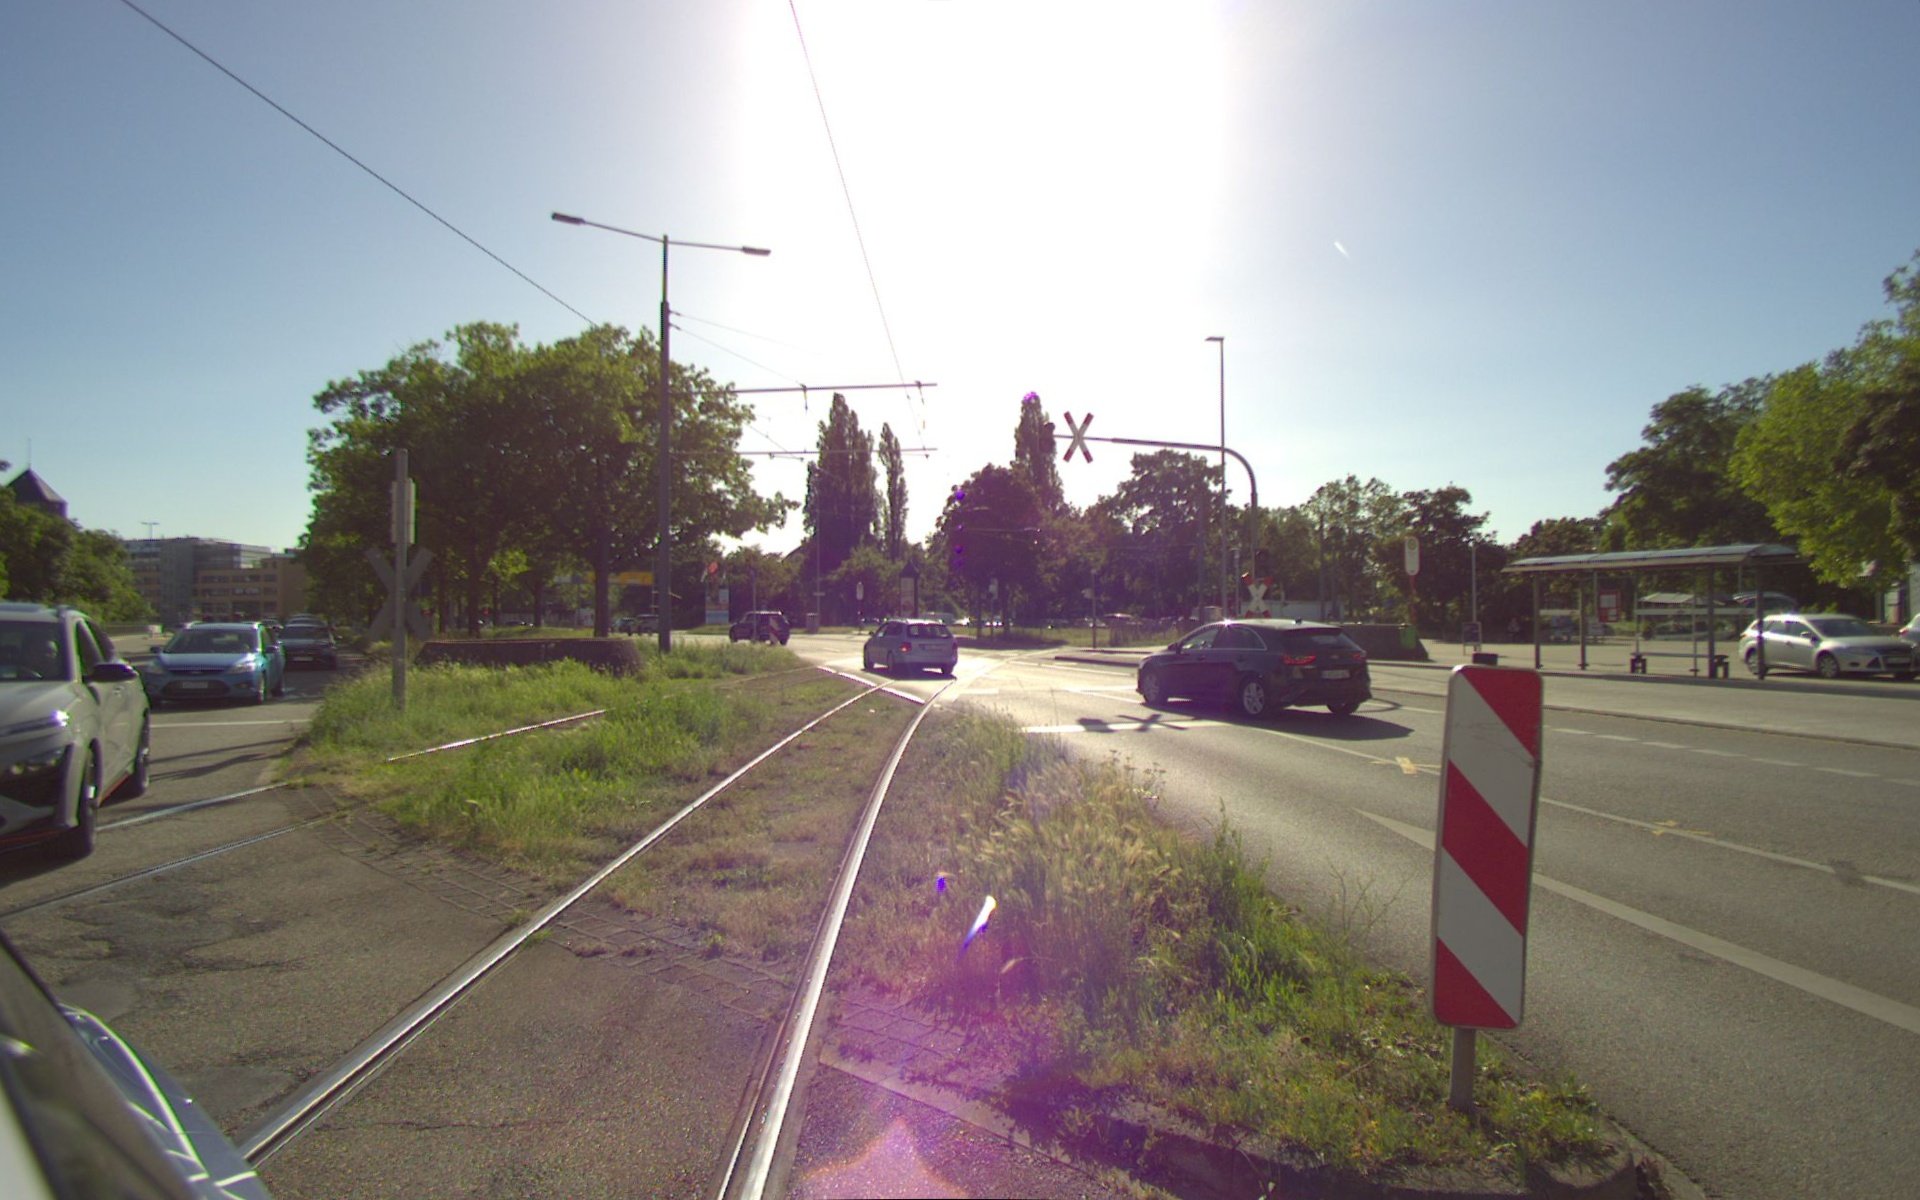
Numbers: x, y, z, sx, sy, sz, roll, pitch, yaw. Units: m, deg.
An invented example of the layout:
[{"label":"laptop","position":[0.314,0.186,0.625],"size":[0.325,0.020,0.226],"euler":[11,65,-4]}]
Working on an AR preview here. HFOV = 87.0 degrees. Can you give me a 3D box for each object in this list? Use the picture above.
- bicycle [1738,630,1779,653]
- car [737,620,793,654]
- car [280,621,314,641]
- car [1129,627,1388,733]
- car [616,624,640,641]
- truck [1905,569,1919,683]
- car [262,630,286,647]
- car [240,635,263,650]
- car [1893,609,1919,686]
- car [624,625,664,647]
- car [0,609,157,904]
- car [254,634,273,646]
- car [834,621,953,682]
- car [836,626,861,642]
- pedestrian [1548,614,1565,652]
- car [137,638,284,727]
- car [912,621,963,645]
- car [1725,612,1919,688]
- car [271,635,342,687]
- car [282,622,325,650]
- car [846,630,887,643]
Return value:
[{"label":"bicycle","position":[30.304,1.567,38.431],"size":[0.542,0.845,1.679],"euler":[-1,-1,12]},{"label":"car","position":[-9.955,1.839,51.357],"size":[1.728,1.626,4.738],"euler":[0,-1,-25]},{"label":"car","position":[-53.878,2.475,82.287],"size":[1.716,1.560,4.013],"euler":[-1,0,-25]},{"label":"car","position":[4.461,1.134,15.850],"size":[1.636,1.402,4.163],"euler":[0,-1,-22]},{"label":"car","position":[-30.785,3.011,93.875],"size":[1.639,1.459,4.416],"euler":[0,-1,-24]},{"label":"truck","position":[27.579,0.620,25.724],"size":[4.773,3.018,1.995],"euler":[-1,-2,8]},{"label":"car","position":[-64.554,3.589,95.322],"size":[1.800,1.484,4.011],"euler":[0,-1,-33]},{"label":"car","position":[-75.301,4.488,107.574],"size":[1.967,1.544,4.010],"euler":[1,-2,-34]},{"label":"car","position":[22.921,0.995,21.679],"size":[1.736,1.730,4.006],"euler":[-3,-2,-7]},{"label":"car","position":[-23.215,2.607,74.268],"size":[1.966,1.574,4.400],"euler":[0,-1,-29]},{"label":"car","position":[-6.691,0.877,6.721],"size":[1.752,1.563,3.991],"euler":[0,-2,-33]},{"label":"car","position":[-89.349,5.097,129.908],"size":[1.967,1.544,4.010],"euler":[1,-2,-34]},{"label":"car","position":[-1.942,1.369,27.849],"size":[1.704,1.453,4.898],"euler":[-2,-1,-23]},{"label":"car","position":[-10.748,3.264,97.352],"size":[1.791,1.459,4.011],"euler":[0,-1,-15]},{"label":"pedestrian","position":[29.804,1.648,50.553],"size":[0.559,1.843,0.717],"euler":[-2,-2,42]},{"label":"car","position":[-14.179,1.481,19.351],"size":[1.682,1.475,4.012],"euler":[1,-2,-28]},{"label":"car","position":[-1.965,2.909,88.994],"size":[2.230,2.029,4.948],"euler":[-1,-2,30]},{"label":"car","position":[20.549,1.116,23.961],"size":[1.851,1.556,4.536],"euler":[-3,-2,9]},{"label":"car","position":[-20.925,1.918,32.519],"size":[1.650,1.520,3.961],"euler":[0,-2,-29]},{"label":"car","position":[-34.372,1.861,53.054],"size":[1.753,1.416,4.012],"euler":[0,-2,-31]},{"label":"car","position":[-8.602,3.355,93.227],"size":[1.793,1.137,4.006],"euler":[1,-2,-41]}]
